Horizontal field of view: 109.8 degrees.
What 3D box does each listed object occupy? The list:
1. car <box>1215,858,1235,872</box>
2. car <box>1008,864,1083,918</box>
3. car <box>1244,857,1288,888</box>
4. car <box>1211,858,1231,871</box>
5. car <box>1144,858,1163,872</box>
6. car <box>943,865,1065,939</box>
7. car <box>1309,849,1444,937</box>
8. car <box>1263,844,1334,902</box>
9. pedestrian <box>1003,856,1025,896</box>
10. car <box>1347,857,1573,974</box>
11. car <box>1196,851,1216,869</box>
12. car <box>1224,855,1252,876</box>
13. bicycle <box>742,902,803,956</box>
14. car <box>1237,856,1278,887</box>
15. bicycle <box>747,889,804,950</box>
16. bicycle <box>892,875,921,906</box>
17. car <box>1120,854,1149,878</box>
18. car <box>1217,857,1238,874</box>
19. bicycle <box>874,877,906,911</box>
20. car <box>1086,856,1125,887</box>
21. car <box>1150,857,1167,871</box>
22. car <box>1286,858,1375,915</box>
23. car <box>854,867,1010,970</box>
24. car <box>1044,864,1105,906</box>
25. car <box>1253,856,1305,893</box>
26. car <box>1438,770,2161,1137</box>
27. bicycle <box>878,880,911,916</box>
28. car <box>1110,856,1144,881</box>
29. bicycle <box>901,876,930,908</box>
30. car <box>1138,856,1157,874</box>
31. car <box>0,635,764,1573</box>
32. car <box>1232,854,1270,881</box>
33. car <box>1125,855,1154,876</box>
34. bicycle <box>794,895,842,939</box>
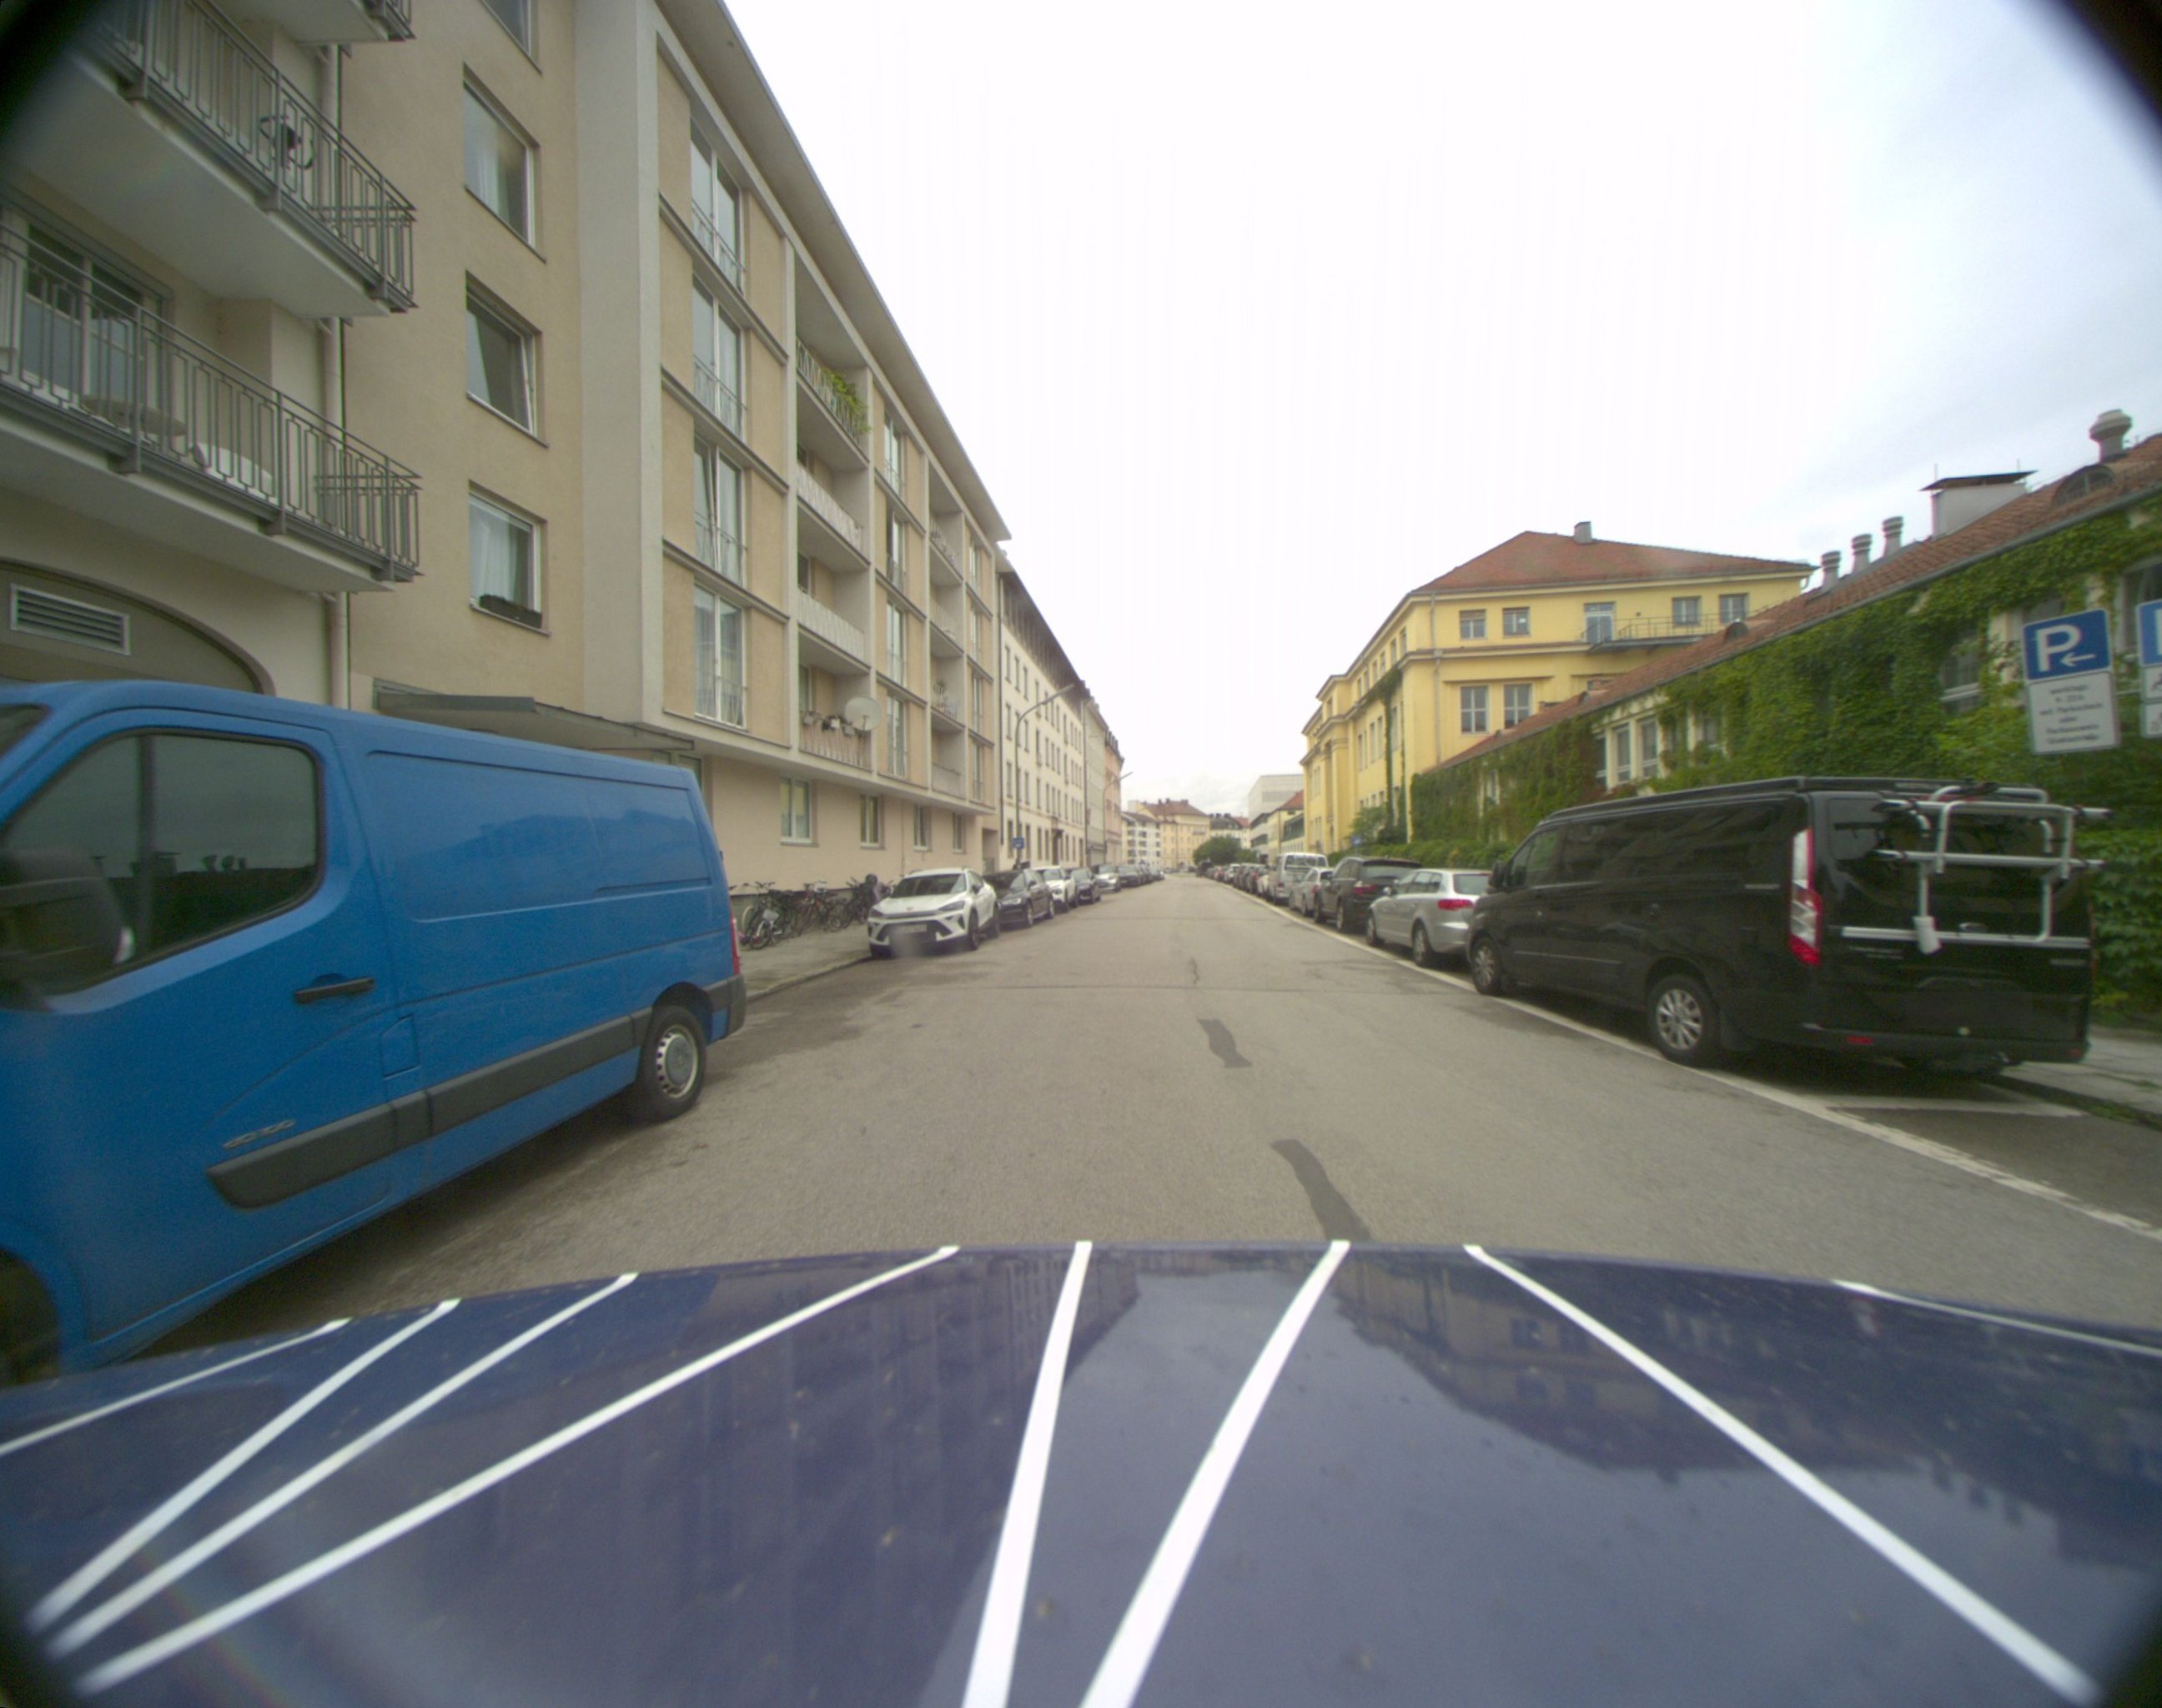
[{"bbox_3d":[15.889,1.232,84.277,1.797,1.421,4.667,2,0,7],"label":"car"},{"bbox_3d":[-1.047,1.148,24.991,1.698,1.480,4.582,-3,0,6],"label":"car"},{"bbox_3d":[9.248,0.878,38.275,1.606,1.422,4.254,2,0,7],"label":"car"},{"bbox_3d":[16.561,1.200,89.933,1.962,1.473,4.531,2,0,6],"label":"car"},{"bbox_3d":[7.758,1.106,80.683,1.690,1.393,4.367,-1,0,10],"label":"car"},{"bbox_3d":[-1.831,1.147,20.015,1.883,1.513,5.167,-4,-1,8],"label":"car"},{"bbox_3d":[6.356,0.756,16.866,1.700,1.633,4.493,2,0,7],"label":"car"},{"bbox_3d":[7.812,0.635,27.653,1.890,1.878,4.777,2,0,9],"label":"car"},{"bbox_3d":[-3.065,0.990,34.814,0.724,1.754,0.905,-1,3,9],"label":"pedestrian"},{"bbox_3d":[5.609,0.785,11.931,1.697,1.385,4.503,4,0,7],"label":"car"},{"bbox_3d":[20.753,0.950,126.014,2.218,2.837,6.197,2,0,0],"label":"car"},{"bbox_3d":[12.660,0.889,61.601,1.749,1.624,4.859,1,0,6],"label":"car"},{"bbox_3d":[-5.833,1.401,14.424,0.378,0.899,1.393,-1,0,9],"label":"bicycle"},{"bbox_3d":[9.981,0.925,43.300,1.727,1.620,4.468,2,0,7],"label":"car"},{"bbox_3d":[-6.163,1.295,15.374,0.378,1.113,1.393,-1,0,9],"label":"bicycle"},{"bbox_3d":[-5.441,1.116,23.775,0.378,0.899,1.393,-1,0,9],"label":"bicycle"},{"bbox_3d":[3.980,0.869,55.906,1.648,1.580,4.637,-4,-1,9],"label":"car"},{"bbox_3d":[13.791,1.074,71.626,1.702,1.488,4.152,3,0,8],"label":"car"},{"bbox_3d":[-5.511,1.150,21.993,0.378,0.899,1.393,-1,0,9],"label":"bicycle"},{"bbox_3d":[1.323,0.921,40.559,1.653,1.486,2.883,-4,-1,9],"label":"car"},{"bbox_3d":[9.827,1.248,96.361,1.685,1.663,3.804,-2,-1,1],"label":"car"},{"bbox_3d":[7.134,0.854,22.146,1.656,1.406,4.774,2,0,9],"label":"car"},{"bbox_3d":[-2.657,1.097,14.745,1.789,1.524,4.649,-4,0,3],"label":"car"},{"bbox_3d":[-0.156,1.155,29.859,1.749,1.380,4.956,-3,0,6],"label":"car"},{"bbox_3d":[8.546,0.839,33.064,1.594,1.433,4.021,2,0,7],"label":"car"},{"bbox_3d":[5.397,0.528,6.781,2.078,1.952,5.350,1,0,3],"label":"car"},{"bbox_3d":[-5.100,1.182,20.825,0.378,0.899,1.393,0,0,9],"label":"bicycle"},{"bbox_3d":[3.123,0.948,50.718,1.806,1.475,5.323,-4,-1,8],"label":"car"},{"bbox_3d":[-5.067,1.158,23.345,0.378,0.899,1.393,-1,0,9],"label":"bicycle"},{"bbox_3d":[6.508,1.064,74.125,1.710,1.583,4.364,-2,-1,5],"label":"car"},{"bbox_3d":[-3.601,0.617,3.066,2.084,2.221,5.244,-5,2,2],"label":"car"},{"bbox_3d":[10.703,0.815,48.106,1.792,1.577,4.821,2,0,6],"label":"car"},{"bbox_3d":[4.742,0.900,60.718,1.843,1.513,4.713,-2,0,10],"label":"car"},{"bbox_3d":[-5.937,1.409,17.214,0.378,0.899,1.393,-1,0,9],"label":"bicycle"}]
